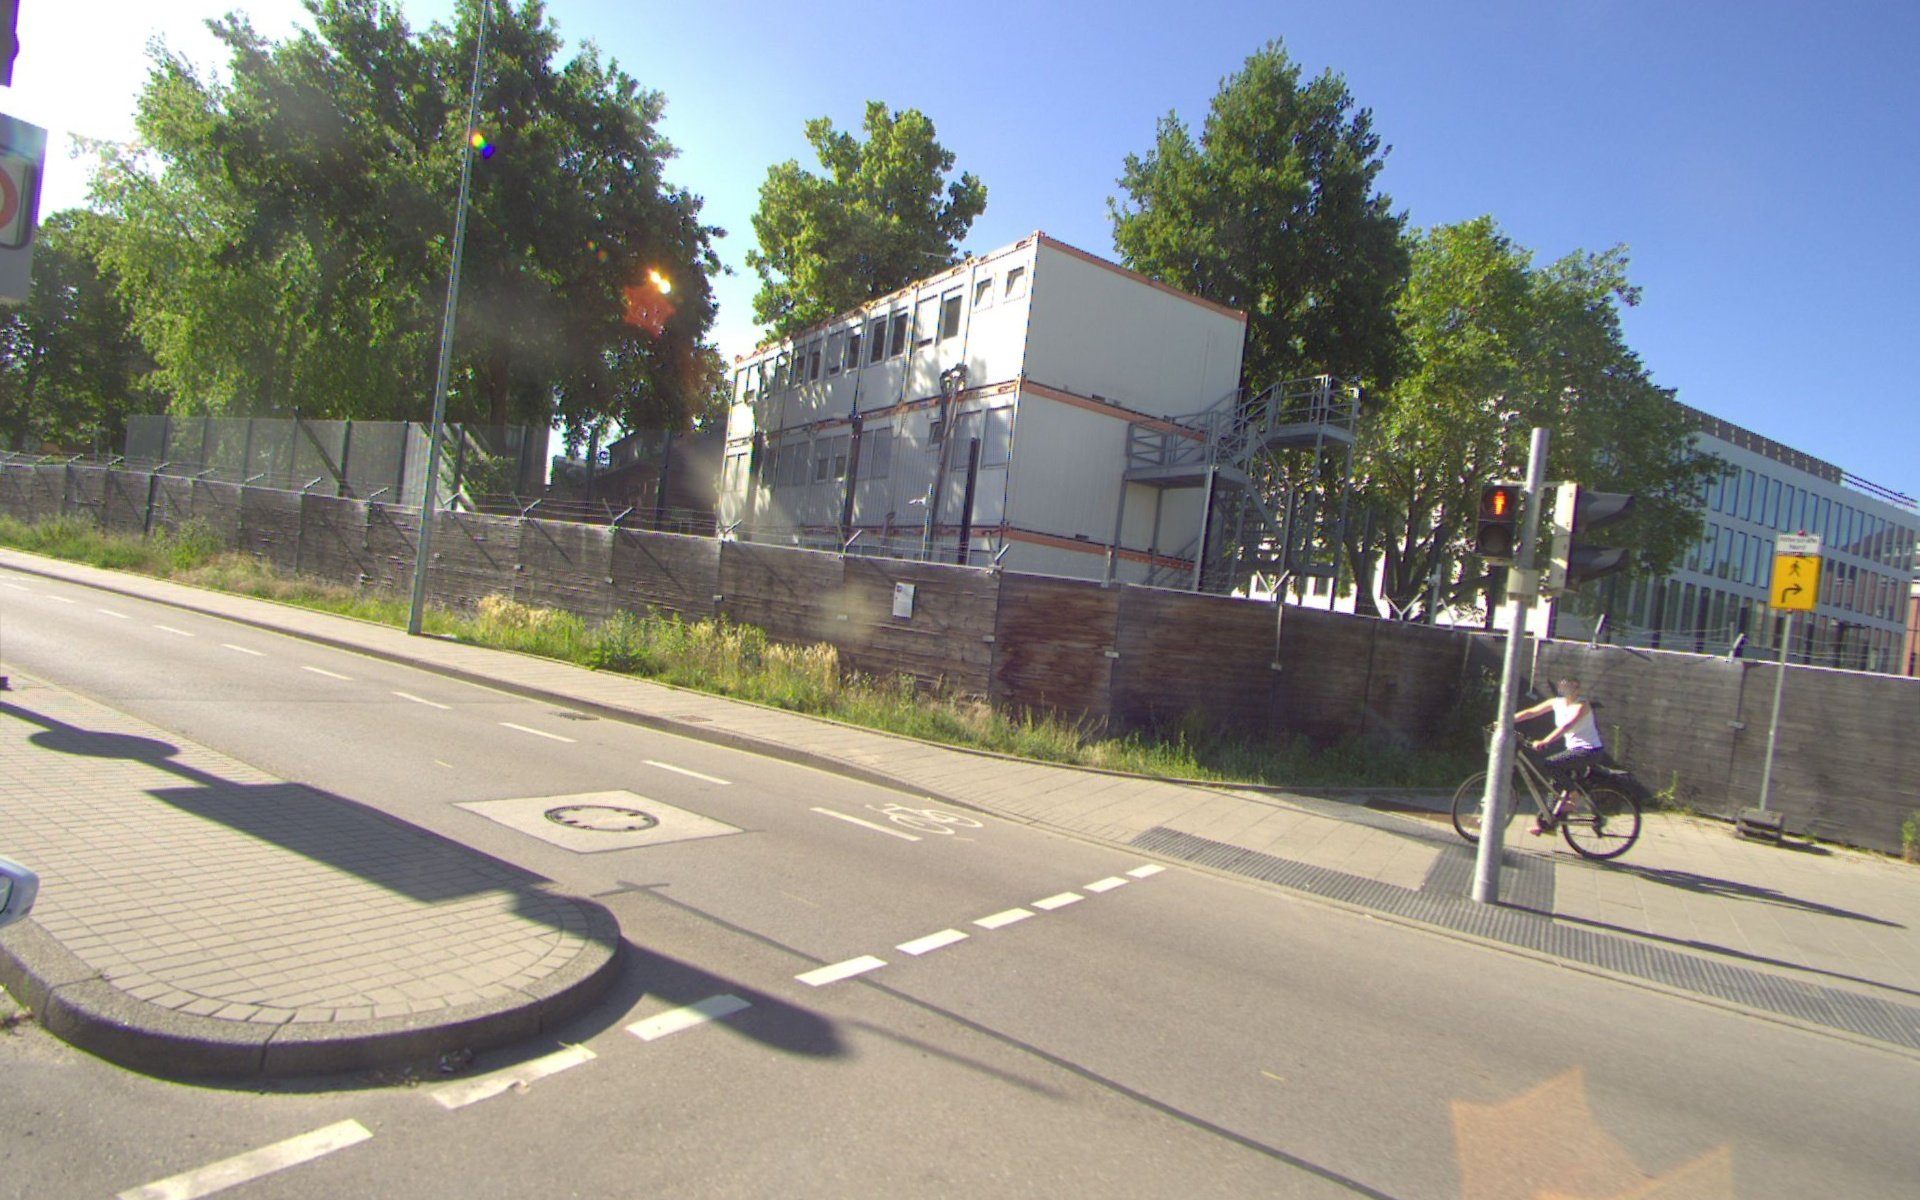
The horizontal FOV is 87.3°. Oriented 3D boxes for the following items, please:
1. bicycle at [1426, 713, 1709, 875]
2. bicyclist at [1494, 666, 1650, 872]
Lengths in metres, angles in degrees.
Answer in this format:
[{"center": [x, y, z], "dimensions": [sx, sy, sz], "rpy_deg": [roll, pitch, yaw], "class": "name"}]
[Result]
[{"center": [5.609, 1.775, 9.396], "dimensions": [2.083, 1.127, 0.604], "rpy_deg": [6, 2, 8], "class": "bicycle"}, {"center": [5.631, 1.524, 9.316], "dimensions": [0.836, 1.694, 0.743], "rpy_deg": [6, 1, 8], "class": "bicyclist"}]
